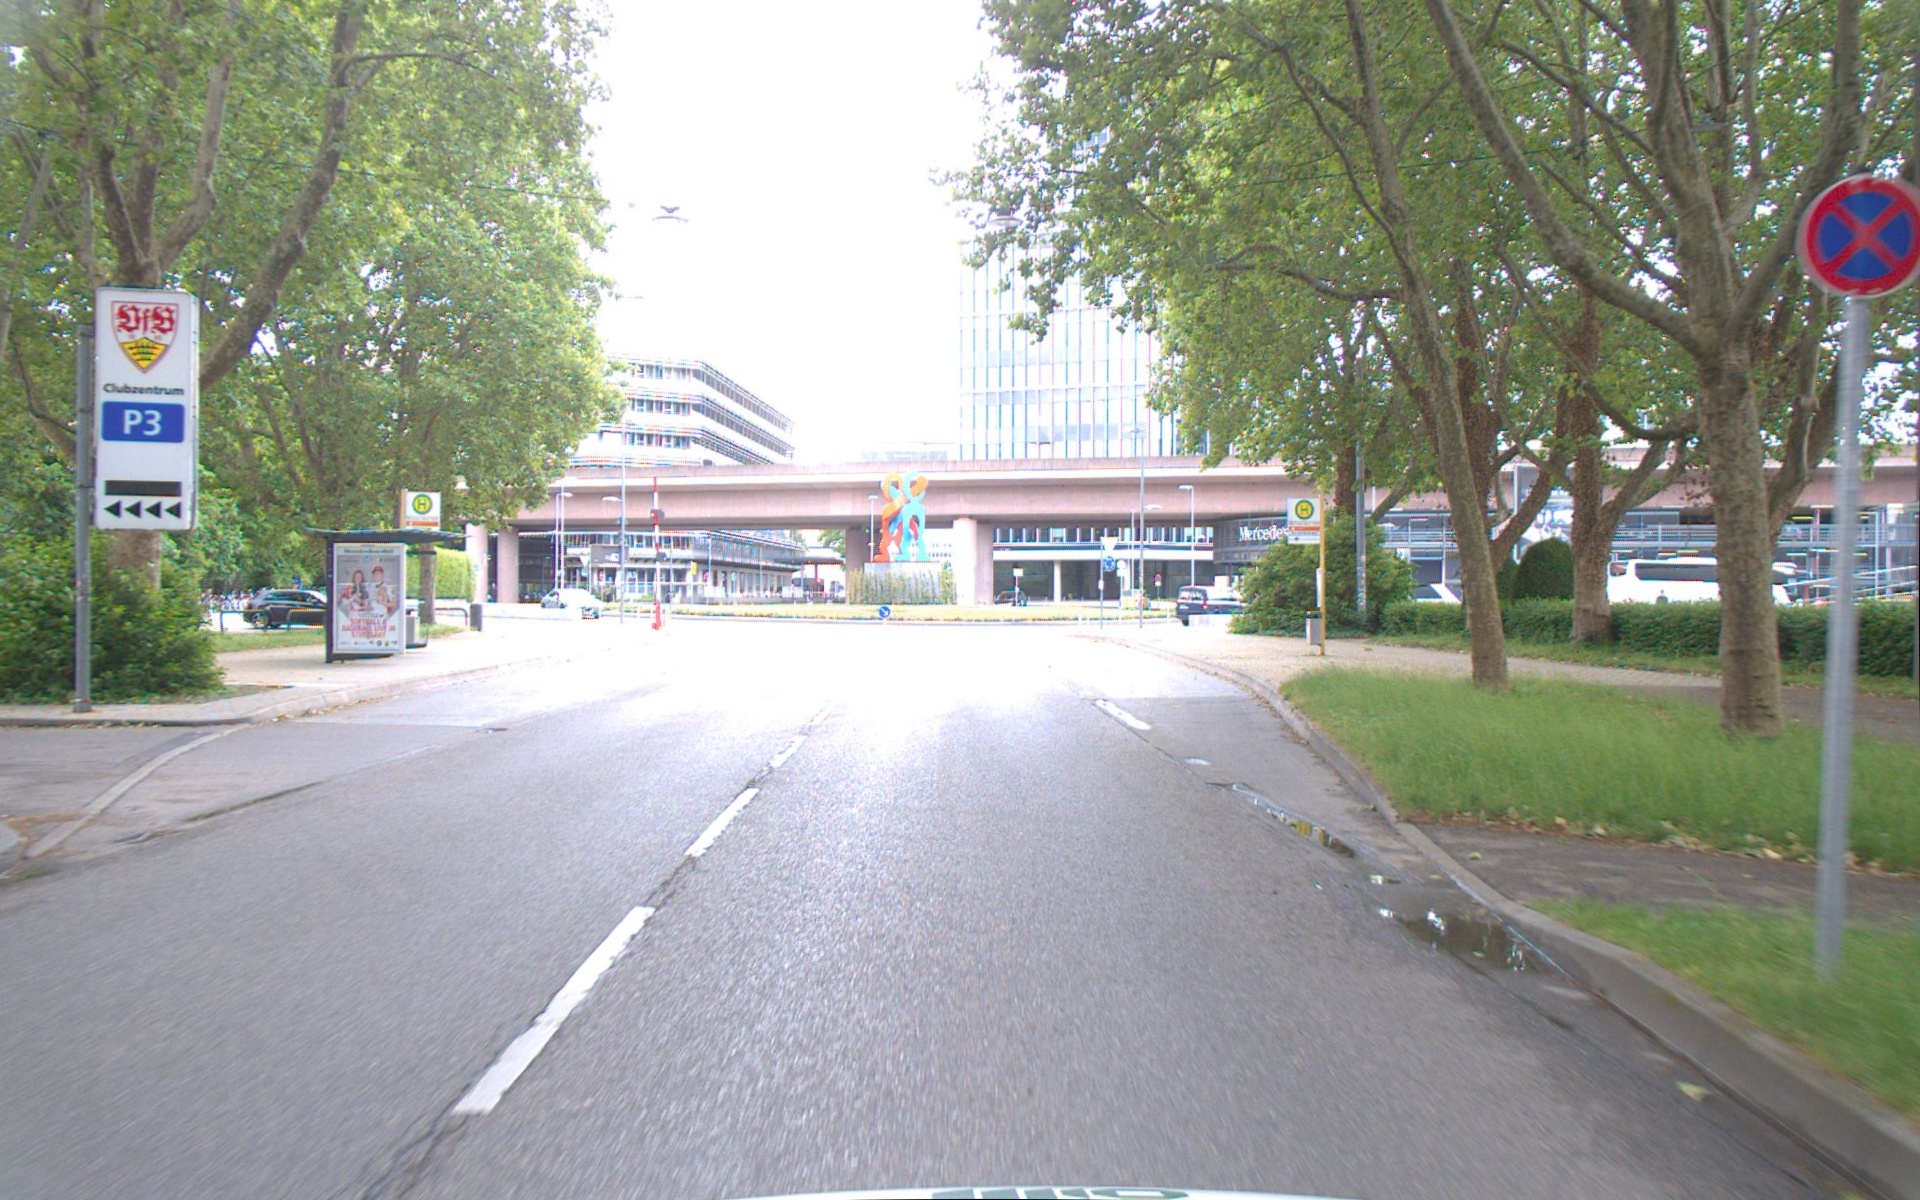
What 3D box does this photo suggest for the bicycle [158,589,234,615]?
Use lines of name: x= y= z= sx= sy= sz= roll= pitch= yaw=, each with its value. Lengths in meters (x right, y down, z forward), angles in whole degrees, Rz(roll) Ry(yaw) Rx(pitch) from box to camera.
bicycle: x=-36.257 y=0.099 z=78.547 sx=3.129 sy=1.116 sz=0.770 roll=1 pitch=-1 yaw=-16

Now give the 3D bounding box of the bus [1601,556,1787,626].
bus: x=44.763 y=-0.517 z=100.941 sx=10.853 sy=4.003 sz=2.750 roll=1 pitch=0 yaw=-12

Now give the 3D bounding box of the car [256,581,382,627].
car: x=-23.467 y=0.133 z=60.692 sx=3.914 sy=1.633 sz=2.227 roll=0 pitch=0 yaw=-10

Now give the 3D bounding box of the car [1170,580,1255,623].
car: x=12.426 y=0.103 z=81.140 sx=2.238 sy=2.049 sz=4.765 roll=1 pitch=0 yaw=36

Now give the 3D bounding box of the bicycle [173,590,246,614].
bicycle: x=-36.660 y=0.083 z=80.856 sx=3.130 sy=1.116 sz=0.769 roll=1 pitch=0 yaw=-17

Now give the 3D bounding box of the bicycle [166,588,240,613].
bicycle: x=-36.558 y=0.027 z=79.883 sx=3.129 sy=1.116 sz=0.770 roll=1 pitch=-1 yaw=-16

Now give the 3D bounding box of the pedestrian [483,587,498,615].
pedestrian: x=-35.160 y=0.062 z=123.902 sx=1.024 sy=2.049 sz=0.597 roll=1 pitch=0 yaw=-13

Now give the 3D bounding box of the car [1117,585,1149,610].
car: x=14.614 y=-0.221 z=139.517 sx=1.951 sy=2.049 sz=4.002 roll=1 pitch=0 yaw=16

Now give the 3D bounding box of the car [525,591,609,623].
car: x=-19.266 y=0.347 z=81.011 sx=1.893 sy=1.478 sz=4.736 roll=-2 pitch=1 yaw=-44

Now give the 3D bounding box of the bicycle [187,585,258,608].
bicycle: x=-36.536 y=-0.155 z=82.013 sx=3.130 sy=1.116 sz=0.769 roll=0 pitch=0 yaw=-17

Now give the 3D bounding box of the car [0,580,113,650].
car: x=-23.102 y=0.337 z=39.569 sx=4.530 sy=1.595 sz=2.109 roll=1 pitch=-1 yaw=1

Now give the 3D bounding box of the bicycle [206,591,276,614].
bicycle: x=-36.115 y=0.125 z=83.133 sx=3.131 sy=1.116 sz=0.769 roll=-1 pitch=0 yaw=-17

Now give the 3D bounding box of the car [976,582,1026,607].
car: x=3.097 y=-0.413 z=125.547 sx=1.959 sy=1.803 sz=3.987 roll=1 pitch=0 yaw=34

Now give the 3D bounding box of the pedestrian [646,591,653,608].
pedestrian: x=-38.232 y=-0.041 z=203.844 sx=0.760 sy=2.049 sz=0.671 roll=-1 pitch=0 yaw=-1

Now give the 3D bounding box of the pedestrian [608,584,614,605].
pedestrian: x=-34.019 y=-0.510 z=161.107 sx=0.578 sy=2.049 sz=0.597 roll=1 pitch=0 yaw=-12
